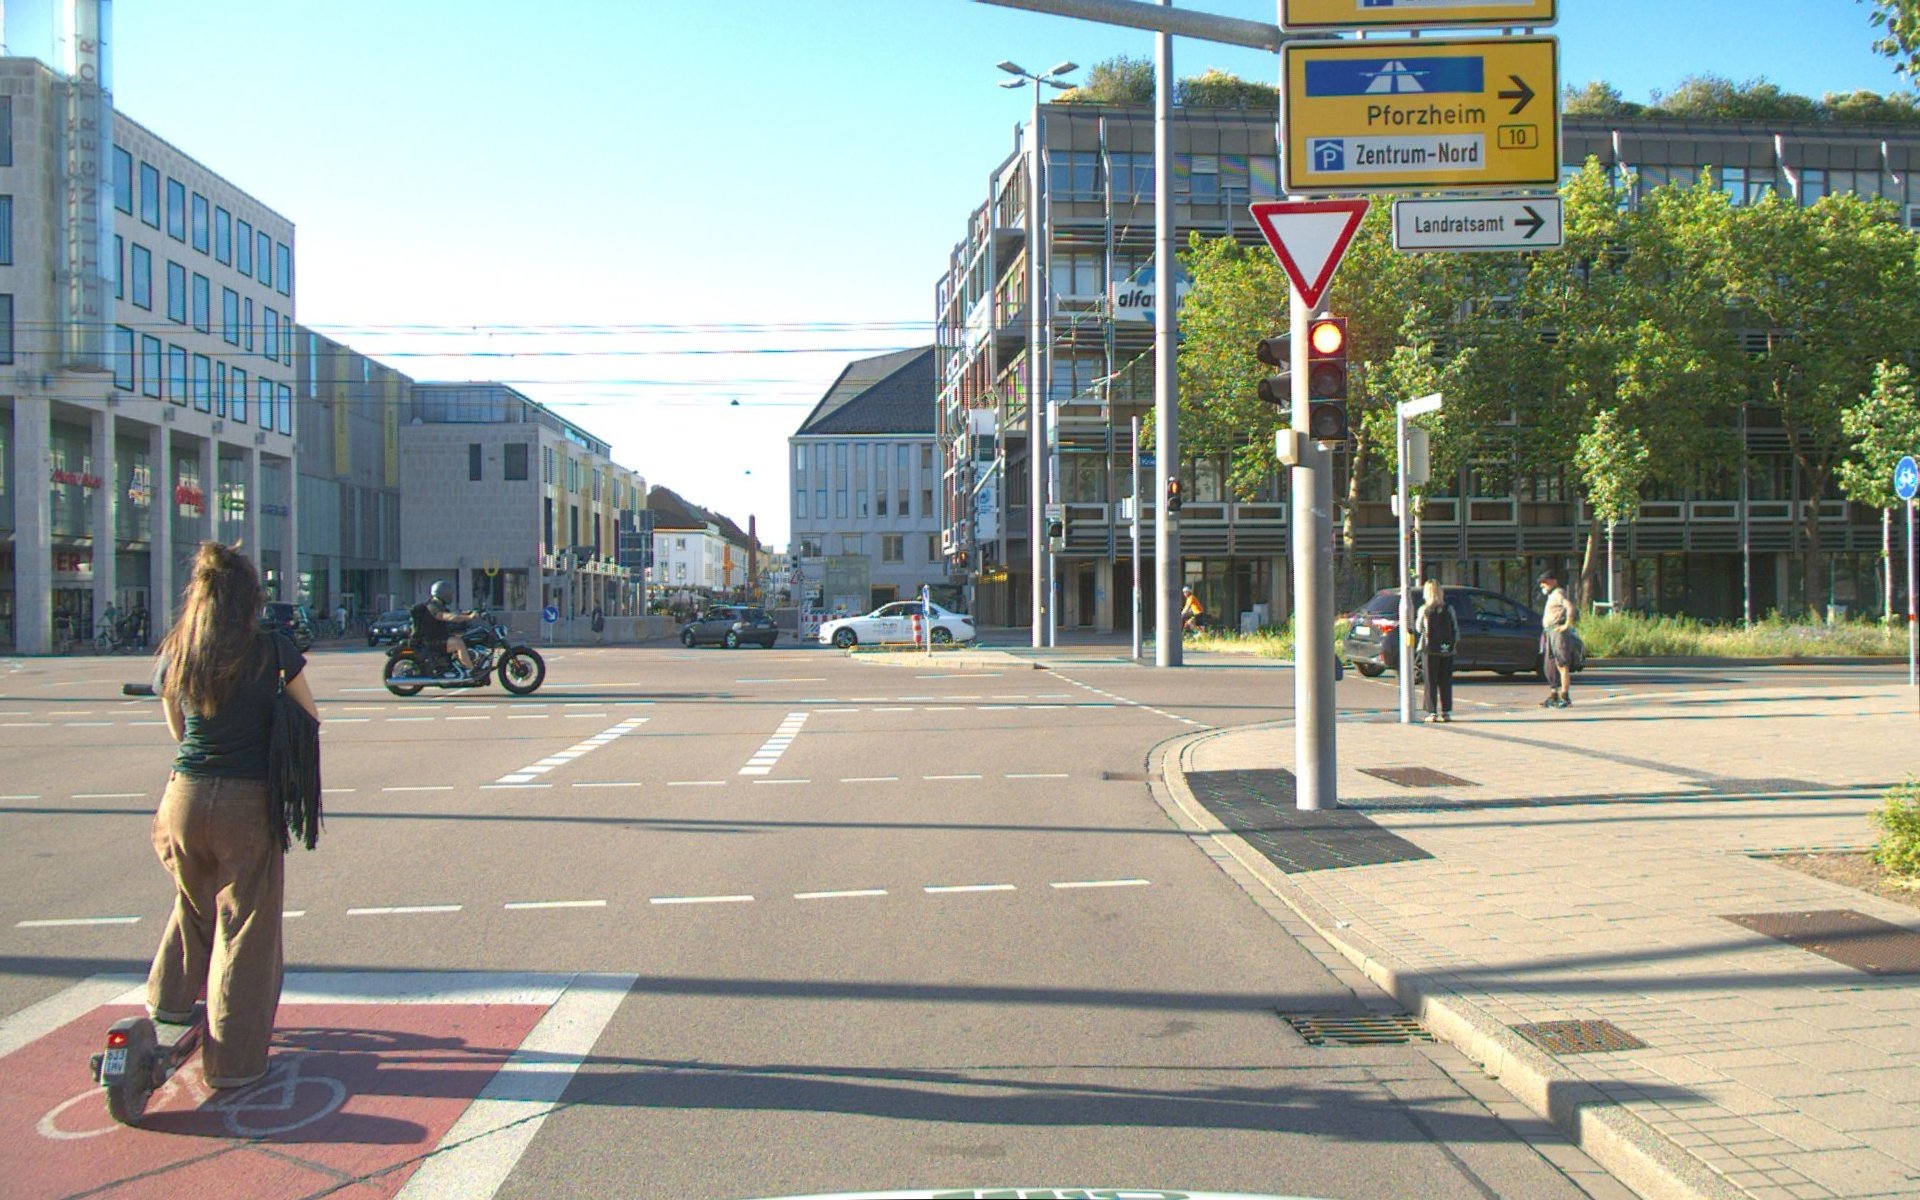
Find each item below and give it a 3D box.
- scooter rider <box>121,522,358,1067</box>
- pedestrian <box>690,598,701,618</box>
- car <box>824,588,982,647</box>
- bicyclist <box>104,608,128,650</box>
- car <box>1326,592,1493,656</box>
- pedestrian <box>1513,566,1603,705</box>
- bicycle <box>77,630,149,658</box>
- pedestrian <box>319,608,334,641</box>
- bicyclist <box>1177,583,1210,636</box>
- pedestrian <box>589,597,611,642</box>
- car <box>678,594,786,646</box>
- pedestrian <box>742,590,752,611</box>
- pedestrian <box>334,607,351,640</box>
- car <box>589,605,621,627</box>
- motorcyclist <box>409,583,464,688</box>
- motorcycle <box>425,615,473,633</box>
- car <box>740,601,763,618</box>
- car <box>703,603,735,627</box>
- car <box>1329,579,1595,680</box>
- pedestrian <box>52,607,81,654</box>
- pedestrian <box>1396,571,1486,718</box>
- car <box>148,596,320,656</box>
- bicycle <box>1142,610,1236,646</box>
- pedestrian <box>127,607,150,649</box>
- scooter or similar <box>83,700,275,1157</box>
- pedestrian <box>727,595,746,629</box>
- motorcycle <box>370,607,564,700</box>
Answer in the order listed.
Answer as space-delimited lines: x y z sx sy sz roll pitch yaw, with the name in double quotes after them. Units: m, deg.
-2.155 0.553 4.992 0.542 1.556 0.448 -1 0 -9 "scooter rider"
-25.953 0.782 162.402 0.892 1.999 0.822 -1 0 -1 "pedestrian"
-1.724 0.530 50.862 4.746 1.713 1.825 -1 0 -1 "car"
-29.920 1.039 58.644 0.617 1.473 0.585 -1 0 41 "bicyclist"
12.653 0.642 46.653 4.212 1.713 1.820 -1 0 -11 "car"
7.662 0.445 21.222 0.854 1.736 0.768 -1 0 -3 "pedestrian"
-29.991 1.556 58.567 0.625 0.919 2.207 -1 0 39 "bicycle"
-34.963 1.348 91.290 0.461 1.759 0.627 1 -1 28 "pedestrian"
6.673 0.275 47.217 0.806 1.500 0.652 -1 0 -5 "bicyclist"
-13.682 0.736 62.902 0.685 1.718 0.619 -1 0 0 "pedestrian"
-7.926 0.680 57.273 1.811 1.713 3.936 -1 0 -43 "car"
-21.149 0.038 164.357 0.892 1.999 0.822 1 -1 -1 "pedestrian"
-33.150 1.261 88.820 0.462 1.759 0.692 0 -1 37 "pedestrian"
-25.976 1.161 121.112 1.625 1.484 3.541 -1 0 -1 "car"
-7.365 0.485 23.304 0.645 1.448 0.646 -1 1 -11 "motorcyclist"
-30.104 1.441 97.529 2.555 1.010 1.113 1 0 -10 "motorcycle"
-18.336 0.831 145.712 1.625 1.484 3.541 -1 0 -1 "car"
-15.698 0.955 107.819 1.625 1.484 3.541 -1 0 -1 "car"
8.097 0.444 26.812 3.790 1.536 1.668 -1 0 -10 "car"
-36.782 1.250 68.062 0.923 1.897 0.539 -1 0 16 "pedestrian"
5.525 0.498 19.051 0.750 1.642 0.874 -1 0 -2 "pedestrian"
-21.646 0.749 49.462 4.317 1.713 1.824 -1 0 -4 "car"
6.528 0.793 47.197 2.517 0.992 1.047 -1 0 -4 "bicycle"
-32.624 1.106 65.661 0.580 1.674 0.629 -1 0 -1 "pedestrian"
-2.207 0.877 4.730 0.301 1.127 0.836 -1 0 -12 "scooter or similar"
-12.120 0.666 89.745 0.881 1.814 0.808 0 0 -1 "pedestrian"
-6.944 0.742 23.425 2.548 1.229 0.728 -1 1 -11 "motorcycle"
